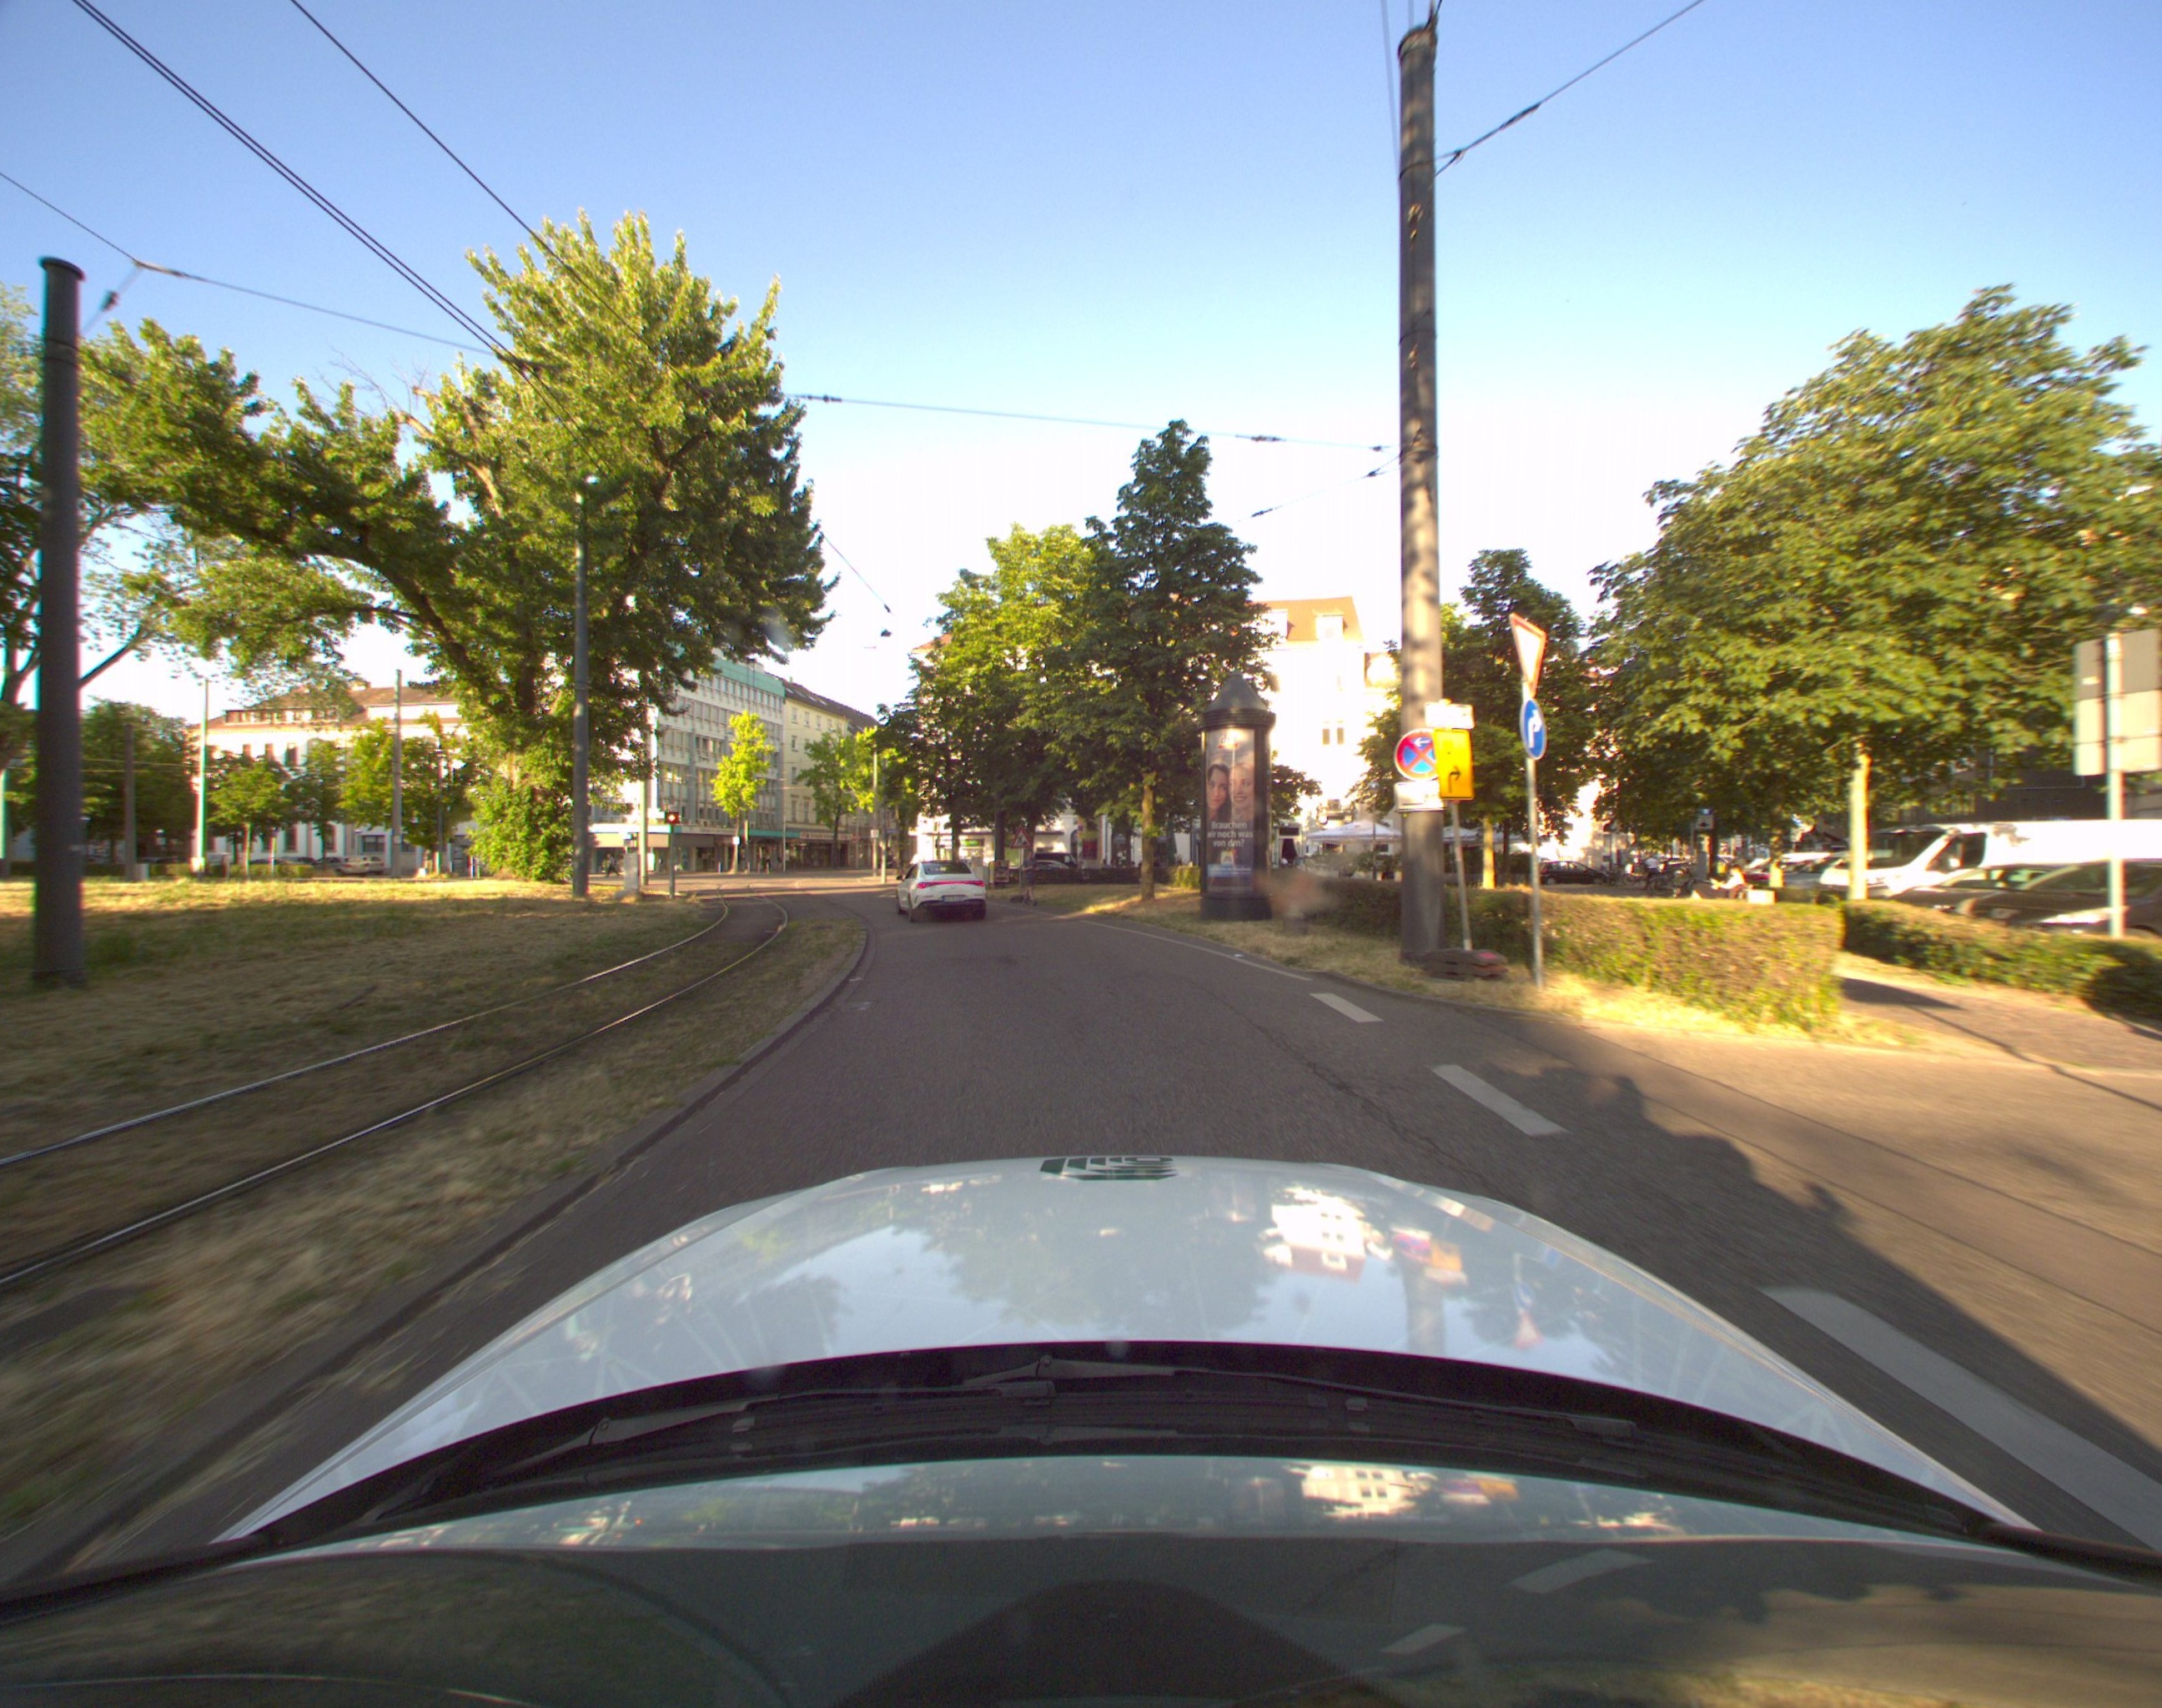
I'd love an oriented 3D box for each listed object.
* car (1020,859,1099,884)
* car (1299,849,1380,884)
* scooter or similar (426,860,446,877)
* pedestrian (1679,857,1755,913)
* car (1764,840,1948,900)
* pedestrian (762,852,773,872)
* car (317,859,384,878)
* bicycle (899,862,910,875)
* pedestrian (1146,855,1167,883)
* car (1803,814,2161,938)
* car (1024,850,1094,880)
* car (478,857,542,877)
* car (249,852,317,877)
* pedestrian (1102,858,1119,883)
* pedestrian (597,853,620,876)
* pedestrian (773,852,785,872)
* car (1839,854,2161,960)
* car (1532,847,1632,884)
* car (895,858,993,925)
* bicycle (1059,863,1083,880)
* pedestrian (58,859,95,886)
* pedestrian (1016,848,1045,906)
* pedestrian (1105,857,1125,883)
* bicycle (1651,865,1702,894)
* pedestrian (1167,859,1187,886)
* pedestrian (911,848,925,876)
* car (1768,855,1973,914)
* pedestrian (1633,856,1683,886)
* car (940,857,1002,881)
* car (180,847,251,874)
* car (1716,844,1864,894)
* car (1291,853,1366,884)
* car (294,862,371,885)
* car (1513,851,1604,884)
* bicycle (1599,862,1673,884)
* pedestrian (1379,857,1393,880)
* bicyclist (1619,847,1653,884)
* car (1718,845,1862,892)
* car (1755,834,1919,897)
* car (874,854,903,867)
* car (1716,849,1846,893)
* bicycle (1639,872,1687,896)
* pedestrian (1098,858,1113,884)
[{"bbox_3d":[-1.317,1.098,50.807,4.630,1.514,1.743,0,0,9],"label":"car"},{"bbox_3d":[15.196,0.744,48.056,4.393,2.014,2.006,0,-1,11],"label":"car"},{"bbox_3d":[-54.606,1.213,68.920,1.903,1.398,0.760,1,-1,35],"label":"scooter or similar"},{"bbox_3d":[14.620,0.696,18.756,1.353,1.226,0.967,0,0,37],"label":"pedestrian"},{"bbox_3d":[23.639,0.481,24.932,3.981,1.706,1.996,1,0,-6],"label":"car"},{"bbox_3d":[-31.169,0.774,80.994,0.791,2.014,0.736,0,-1,11],"label":"pedestrian"},{"bbox_3d":[-58.636,1.145,65.396,3.959,1.530,2.007,0,-1,13],"label":"car"},{"bbox_3d":[-14.677,1.202,67.844,0.352,1.076,1.702,0,-1,7],"label":"bicycle"},{"bbox_3d":[3.636,0.720,39.155,0.723,1.356,1.021,-1,-1,23],"label":"pedestrian"},{"bbox_3d":[17.786,0.392,16.181,4.840,2.241,2.098,1,0,6],"label":"car"},{"bbox_3d":[-1.487,0.741,55.870,4.470,1.963,2.029,0,0,9],"label":"car"},{"bbox_3d":[-44.335,0.979,63.262,3.956,1.485,2.036,0,-1,16],"label":"car"},{"bbox_3d":[-65.099,0.851,66.449,3.961,2.014,2.006,0,-1,11],"label":"car"},{"bbox_3d":[1.482,0.842,41.208,0.773,1.243,0.990,0,0,7],"label":"pedestrian"},{"bbox_3d":[-35.186,0.804,60.619,0.896,1.703,1.170,-1,-1,27],"label":"pedestrian"},{"bbox_3d":[-29.894,0.817,80.647,0.791,2.014,0.736,0,-1,11],"label":"pedestrian"},{"bbox_3d":[15.553,0.836,13.626,3.974,1.604,1.952,1,0,0],"label":"car"},{"bbox_3d":[28.120,0.635,45.863,4.393,2.014,2.006,0,-1,11],"label":"car"},{"bbox_3d":[-3.579,0.867,20.755,1.873,1.469,4.017,-1,0,-18],"label":"car"},{"bbox_3d":[-0.530,0.941,44.577,0.548,0.929,1.539,0,-1,33],"label":"bicycle"},{"bbox_3d":[-73.915,1.347,59.926,1.451,2.014,1.123,0,-1,11],"label":"pedestrian"},{"bbox_3d":[-1.531,0.688,24.888,0.647,1.743,0.582,1,-1,-44],"label":"pedestrian"},{"bbox_3d":[1.803,0.847,42.850,0.945,1.284,0.663,4,0,2],"label":"pedestrian"},{"bbox_3d":[21.130,0.895,28.908,1.455,0.996,0.326,-1,-1,39],"label":"bicycle"},{"bbox_3d":[4.643,0.914,39.351,0.655,1.243,0.957,4,0,23],"label":"pedestrian"},{"bbox_3d":[-12.197,0.601,60.908,0.837,2.014,0.848,0,-1,6],"label":"pedestrian"},{"bbox_3d":[21.461,0.811,22.239,3.983,1.486,1.995,1,0,-7],"label":"car"},{"bbox_3d":[24.853,0.723,35.103,1.036,1.250,1.440,1,0,-28],"label":"pedestrian"},{"bbox_3d":[-6.977,0.950,51.761,3.544,1.514,1.743,0,0,9],"label":"car"},{"bbox_3d":[-65.709,0.505,61.841,3.957,2.014,2.008,0,-1,15],"label":"car"},{"bbox_3d":[26.329,0.546,30.340,3.978,1.773,1.911,1,0,-3],"label":"car"},{"bbox_3d":[16.114,0.939,53.203,4.470,1.964,2.028,0,-1,9],"label":"car"},{"bbox_3d":[-55.209,1.415,60.118,3.968,1.684,2.003,0,-1,5],"label":"car"},{"bbox_3d":[29.747,0.830,50.872,4.470,1.964,2.028,0,-1,9],"label":"car"},{"bbox_3d":[29.827,0.999,43.838,3.164,1.131,0.989,1,0,12],"label":"bicycle"},{"bbox_3d":[14.573,0.695,38.905,0.550,1.117,0.497,0,-1,30],"label":"pedestrian"},{"bbox_3d":[29.867,0.615,43.808,1.235,1.916,0.989,0,0,13],"label":"bicyclist"},{"bbox_3d":[28.499,0.575,32.861,3.958,1.773,1.920,1,0,14],"label":"car"},{"bbox_3d":[25.730,0.396,27.789,3.981,2.014,1.996,1,0,-6],"label":"car"},{"bbox_3d":[-24.040,0.836,101.837,1.949,1.640,4.013,0,0,12],"label":"car"},{"bbox_3d":[30.319,0.713,35.442,3.950,1.773,1.924,1,0,27],"label":"car"},{"bbox_3d":[19.457,1.010,27.240,1.258,0.779,0.449,-1,-1,33],"label":"bicycle"},{"bbox_3d":[1.220,0.816,39.830,0.562,1.244,0.616,-1,-1,20],"label":"pedestrian"}]
